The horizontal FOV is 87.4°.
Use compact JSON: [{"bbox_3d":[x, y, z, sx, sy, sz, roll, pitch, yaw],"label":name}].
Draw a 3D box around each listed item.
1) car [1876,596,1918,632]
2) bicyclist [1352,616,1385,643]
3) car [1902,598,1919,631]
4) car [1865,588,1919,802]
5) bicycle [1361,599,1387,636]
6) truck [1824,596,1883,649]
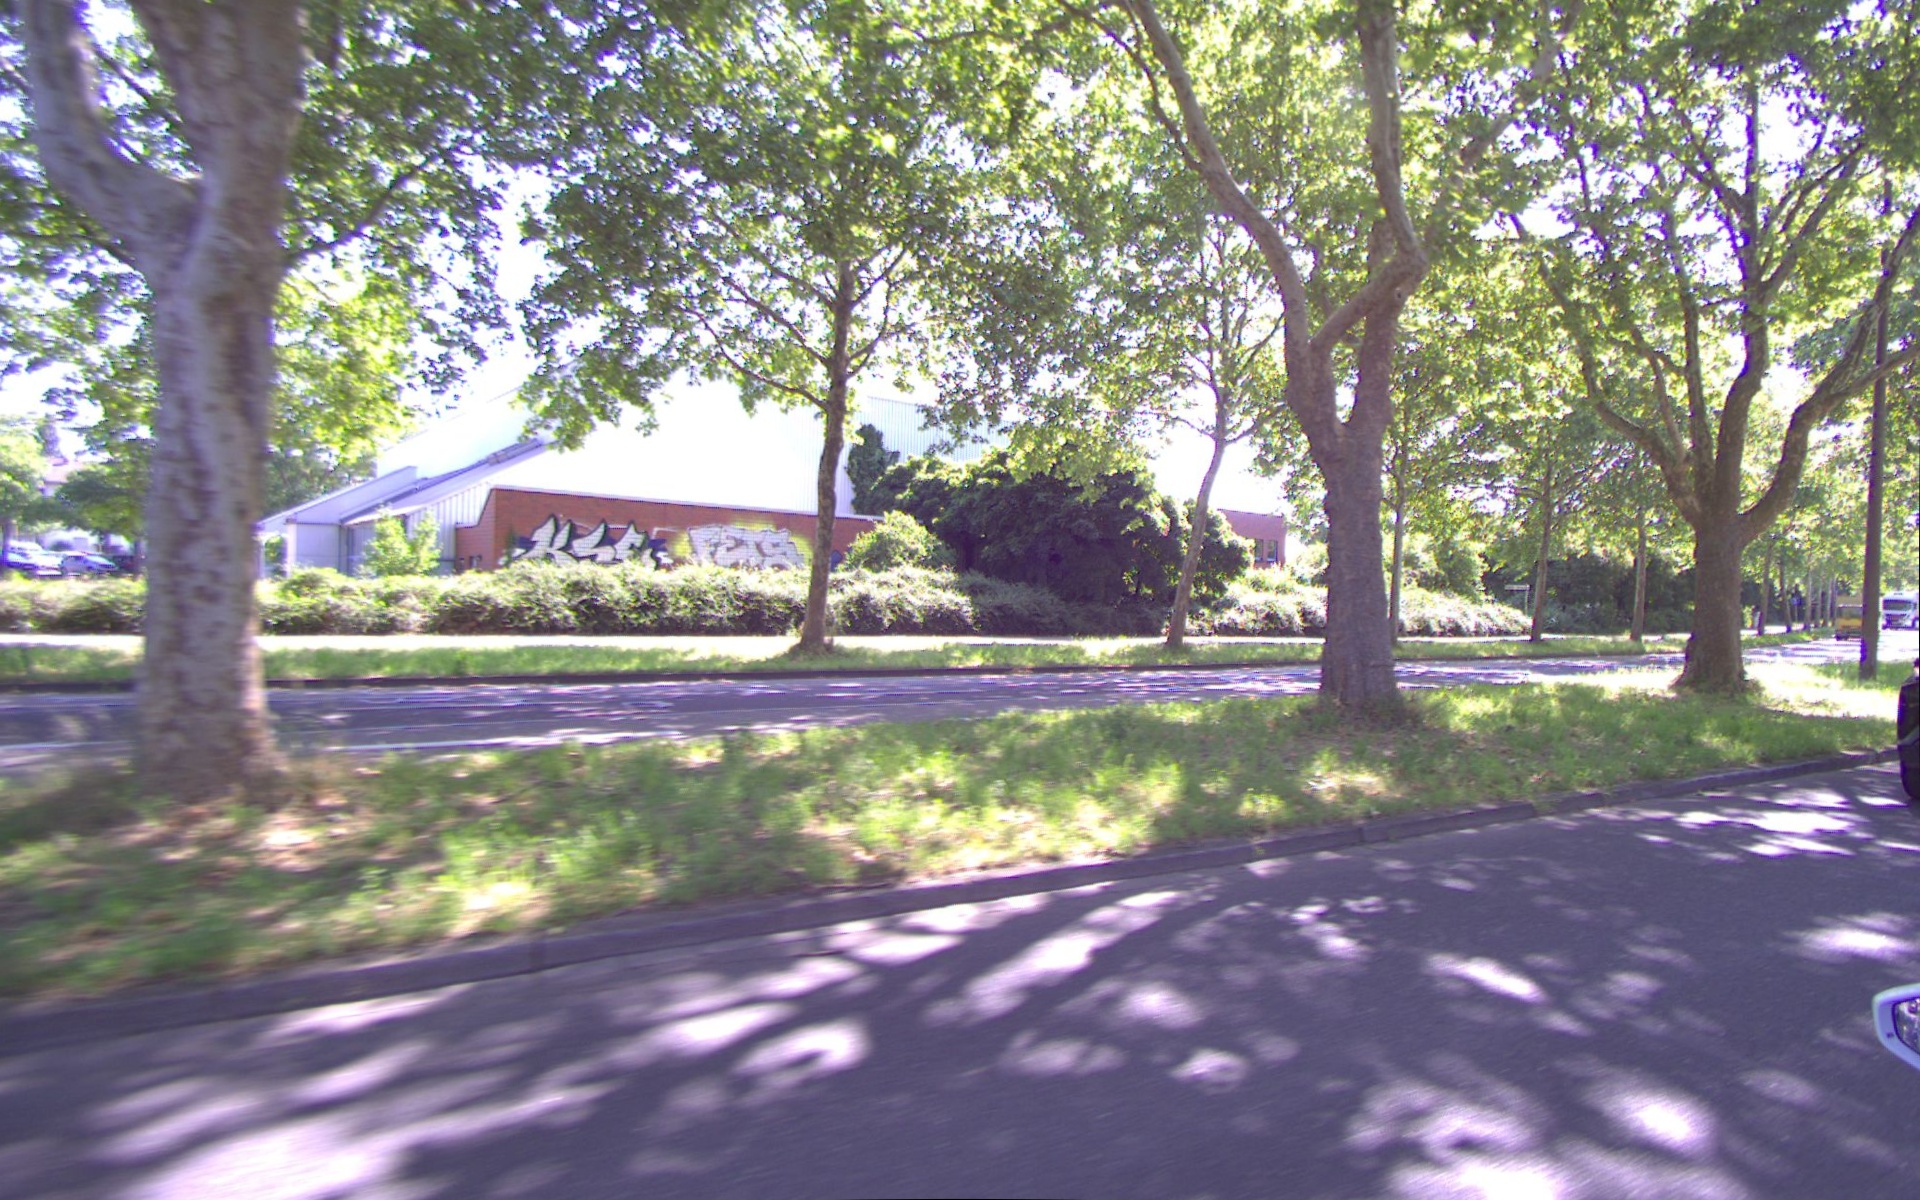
[{"bbox_3d":[97.196,1.434,104.178,7.044,3.496,2.428,0,3,-42],"label":"car"},{"bbox_3d":[15.961,1.147,39.221,1.409,1.027,0.426,2,1,-31],"label":"bicyclist"},{"bbox_3d":[105.845,1.629,110.720,6.715,3.480,2.040,2,1,-41],"label":"car"},{"bbox_3d":[9.874,0.822,8.706,4.386,1.719,1.862,2,0,-32],"label":"car"},{"bbox_3d":[16.190,0.682,39.309,0.944,1.403,0.426,2,1,-31],"label":"bicycle"},{"bbox_3d":[64.040,1.538,71.966,7.049,3.496,2.426,0,3,-44],"label":"truck"}]
